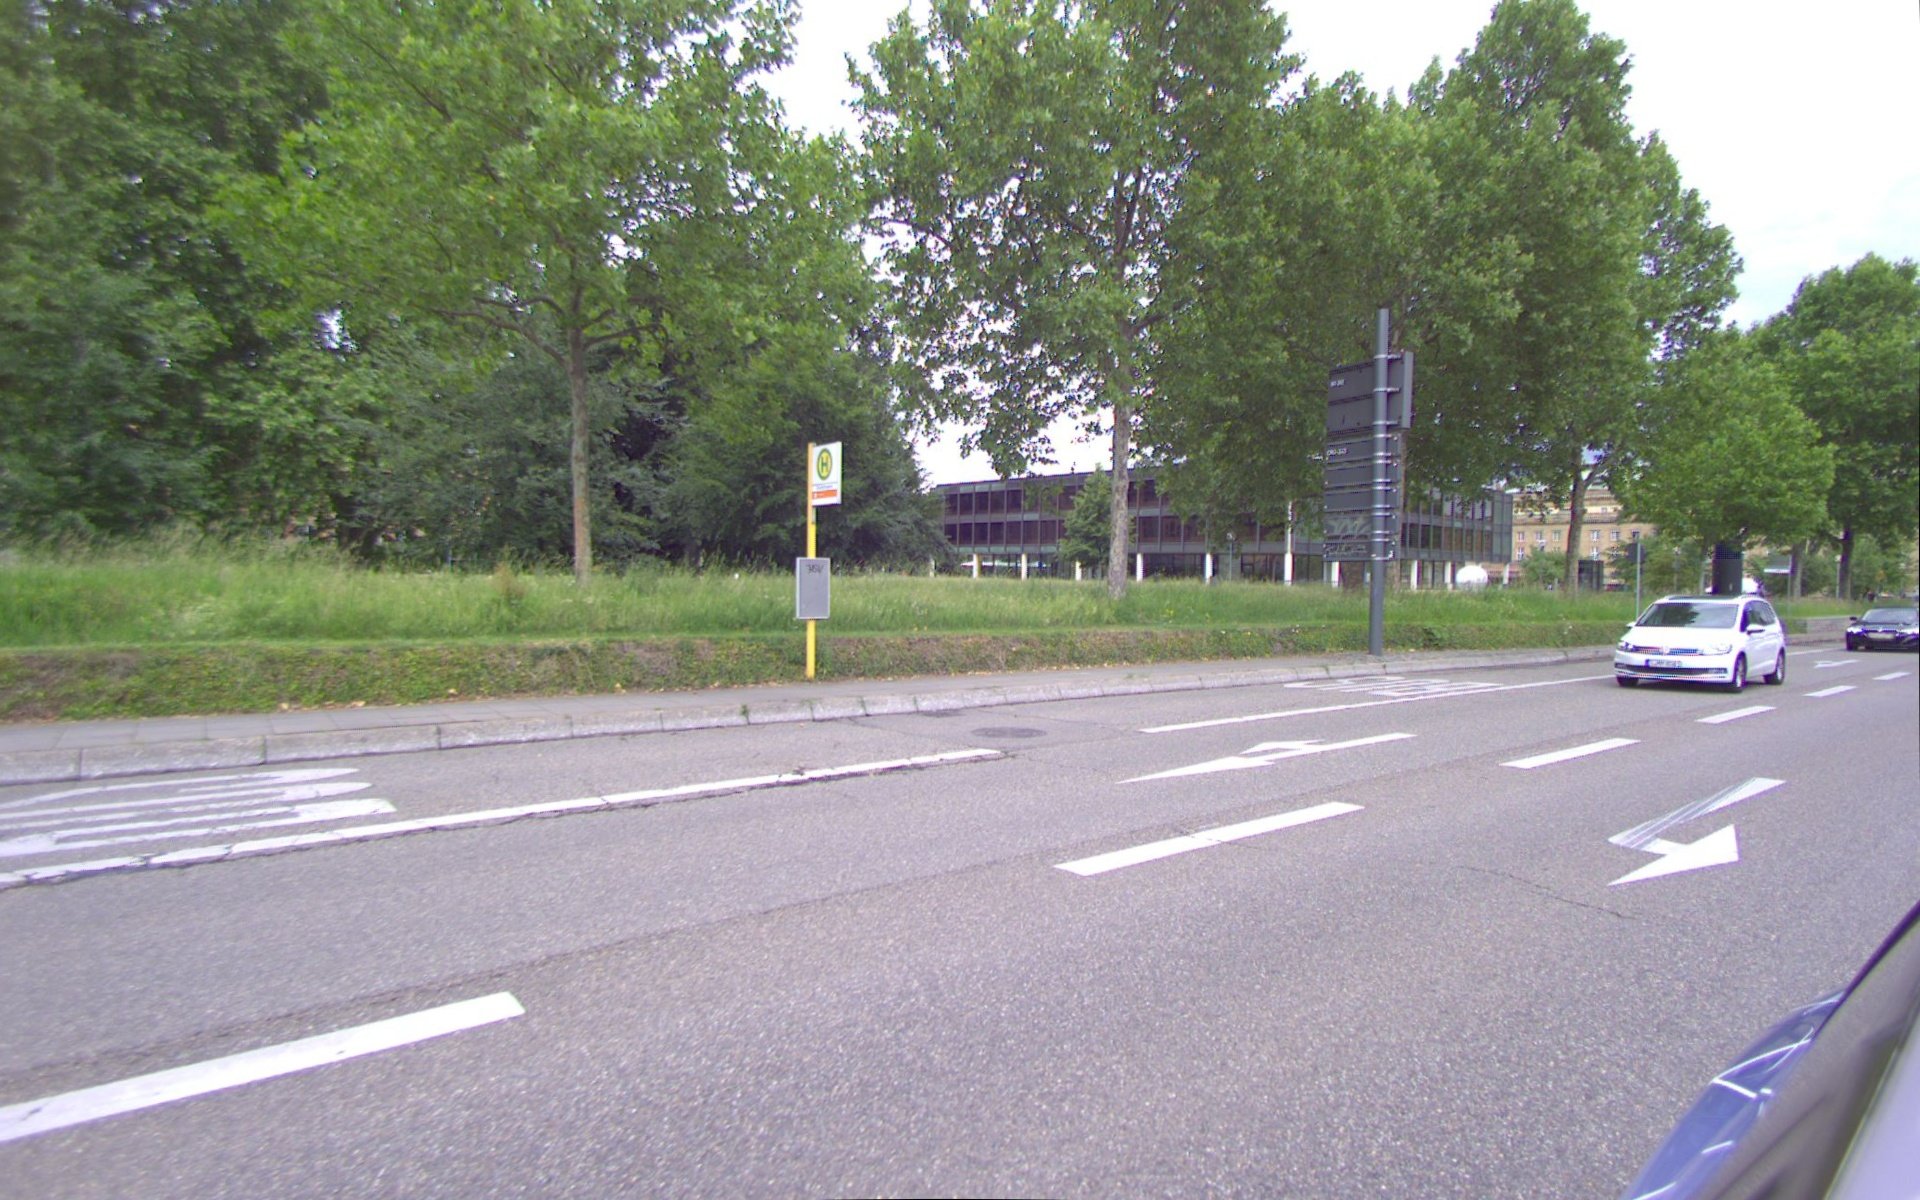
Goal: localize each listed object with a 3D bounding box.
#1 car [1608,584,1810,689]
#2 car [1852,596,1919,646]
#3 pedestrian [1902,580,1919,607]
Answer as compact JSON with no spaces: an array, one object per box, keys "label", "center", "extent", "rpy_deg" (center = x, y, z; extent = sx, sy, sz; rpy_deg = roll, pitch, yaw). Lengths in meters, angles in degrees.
[{"label":"car","center":[13.557,0.564,18.242],"extent":[4.228,1.660,1.998],"rpy_deg":[0,1,-40]},{"label":"car","center":[30.156,0.627,32.179],"extent":[4.445,1.478,1.936],"rpy_deg":[-1,0,-38]},{"label":"pedestrian","center":[73.913,-0.509,78.647],"extent":[1.160,2.039,0.891],"rpy_deg":[-1,0,-40]}]
